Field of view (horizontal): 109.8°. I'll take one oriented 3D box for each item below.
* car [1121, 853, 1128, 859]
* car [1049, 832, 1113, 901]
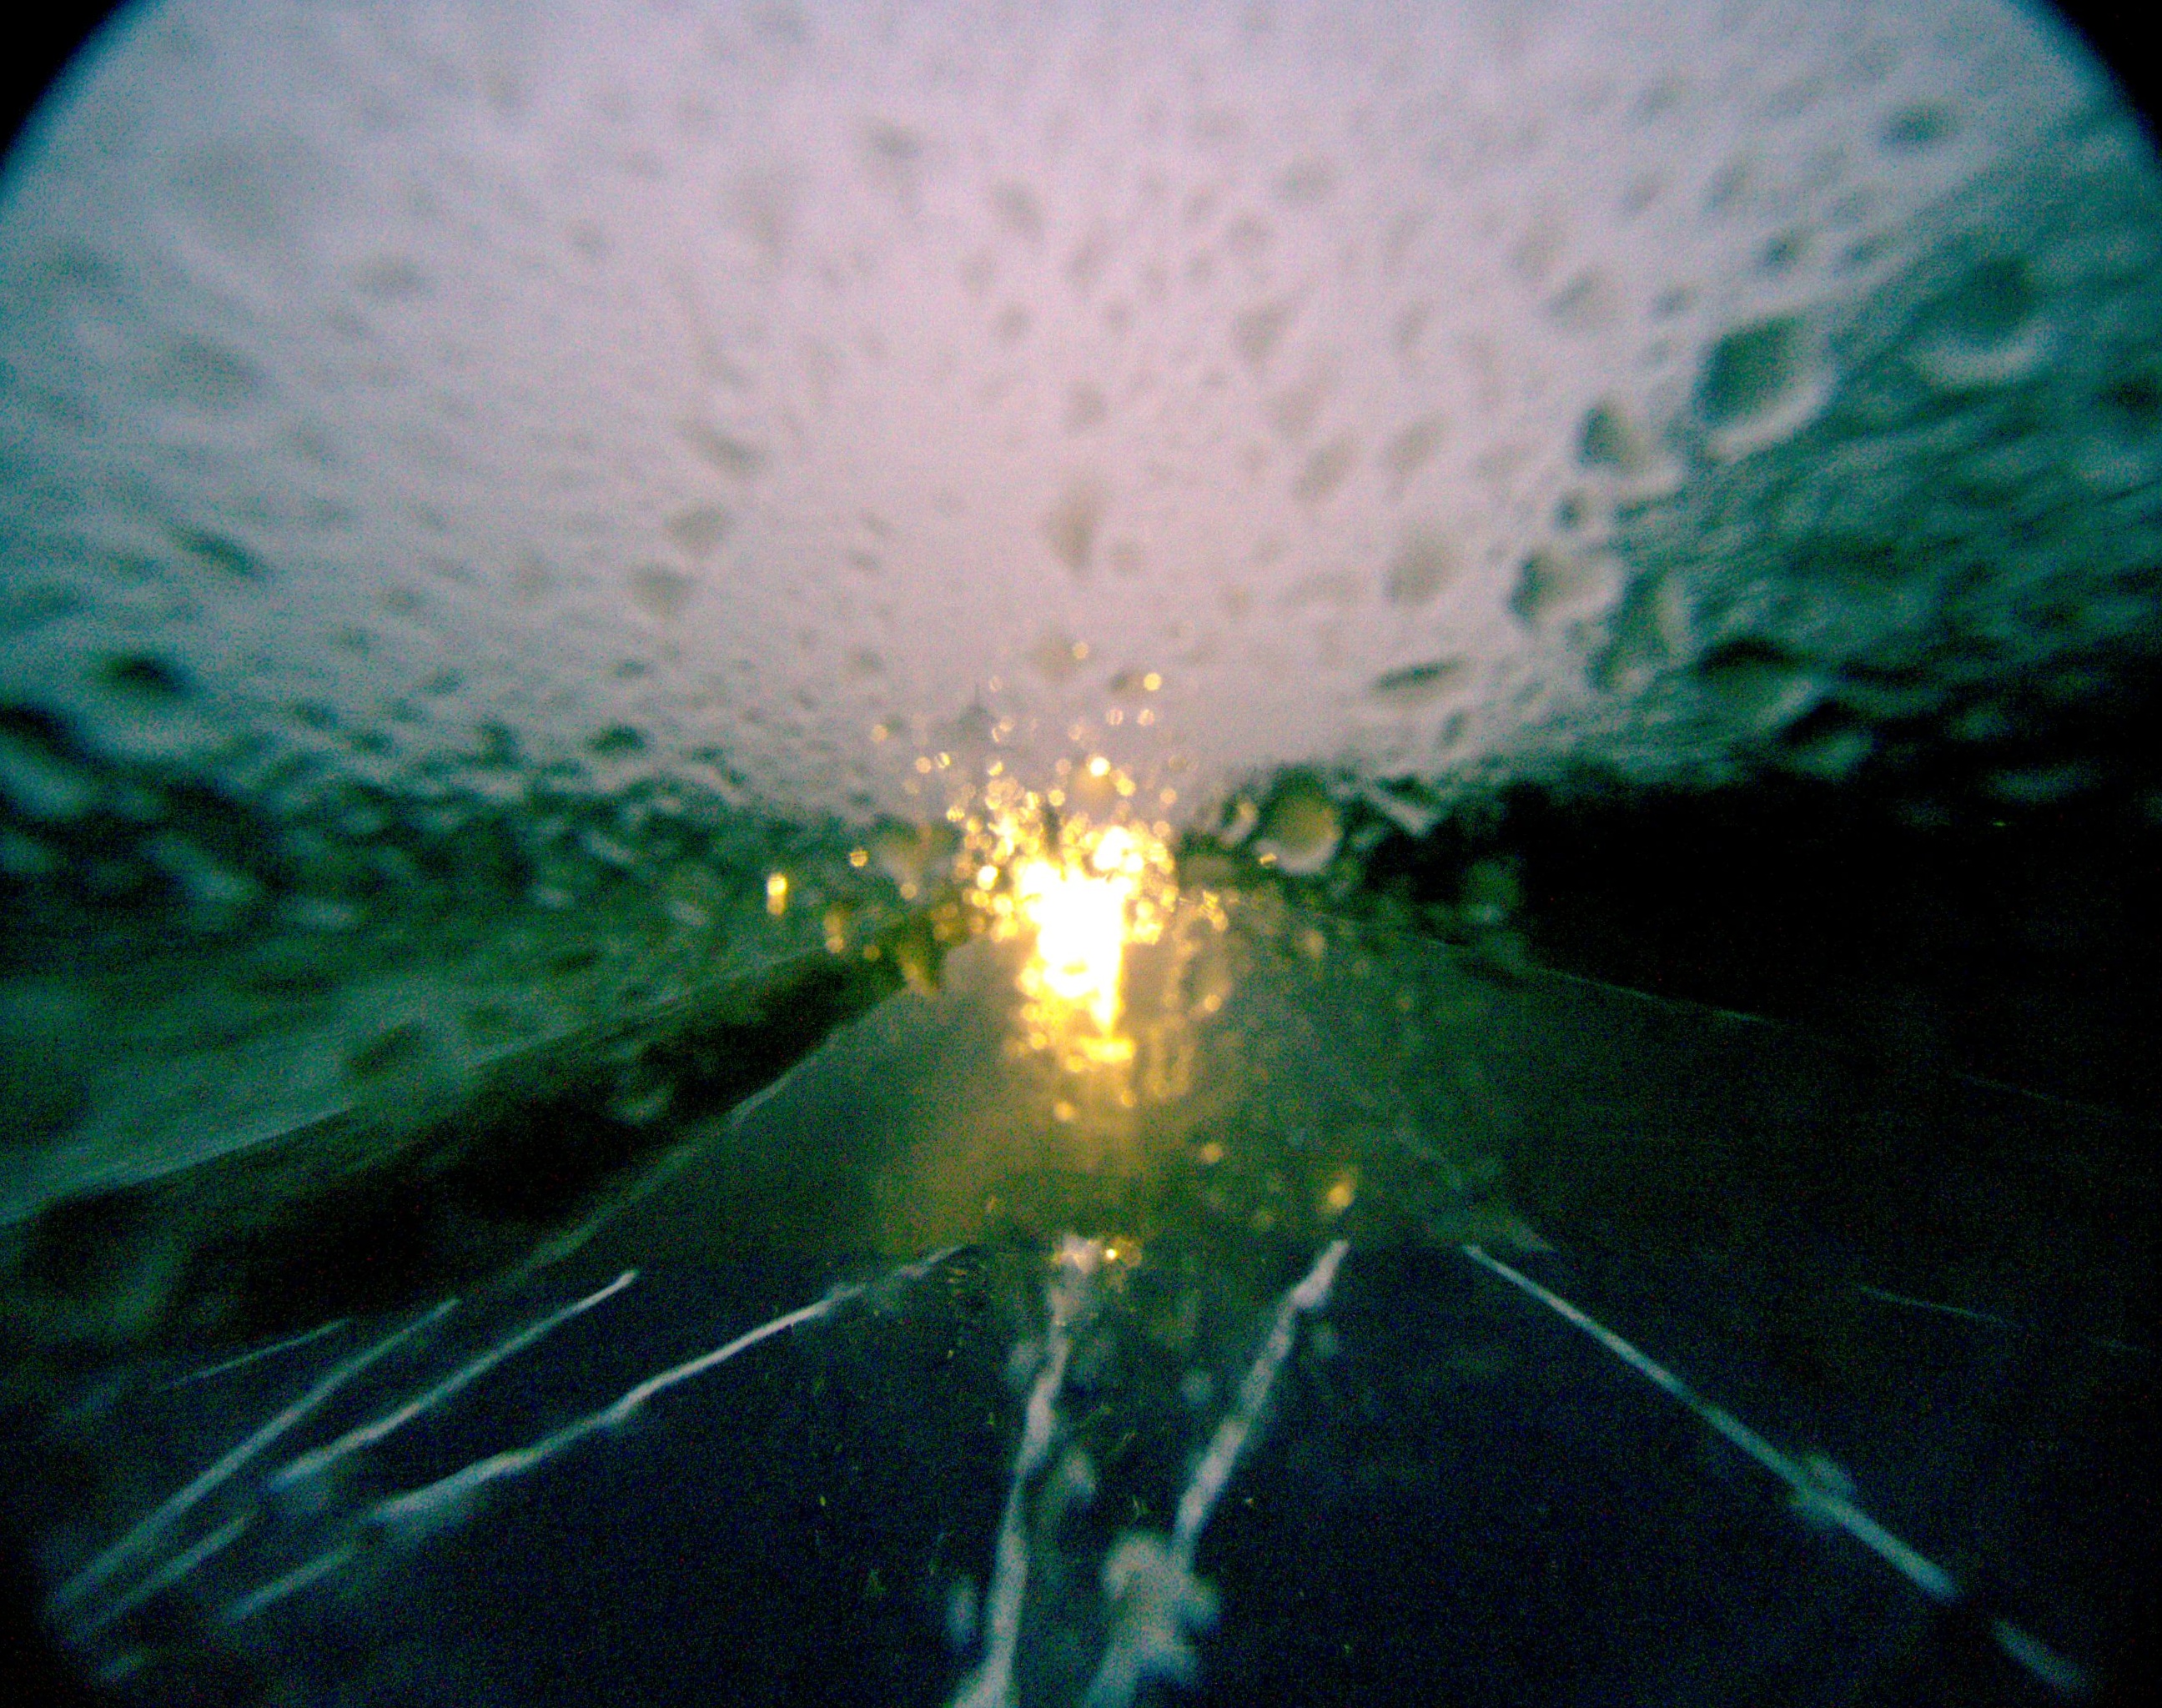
[{"bbox_3d":[12.605,0.504,218.534,1.912,1.549,3.929,-2,1,4],"label":"car"},{"bbox_3d":[0.085,0.395,27.286,1.952,2.195,4.535,-2,1,4],"label":"car"}]
